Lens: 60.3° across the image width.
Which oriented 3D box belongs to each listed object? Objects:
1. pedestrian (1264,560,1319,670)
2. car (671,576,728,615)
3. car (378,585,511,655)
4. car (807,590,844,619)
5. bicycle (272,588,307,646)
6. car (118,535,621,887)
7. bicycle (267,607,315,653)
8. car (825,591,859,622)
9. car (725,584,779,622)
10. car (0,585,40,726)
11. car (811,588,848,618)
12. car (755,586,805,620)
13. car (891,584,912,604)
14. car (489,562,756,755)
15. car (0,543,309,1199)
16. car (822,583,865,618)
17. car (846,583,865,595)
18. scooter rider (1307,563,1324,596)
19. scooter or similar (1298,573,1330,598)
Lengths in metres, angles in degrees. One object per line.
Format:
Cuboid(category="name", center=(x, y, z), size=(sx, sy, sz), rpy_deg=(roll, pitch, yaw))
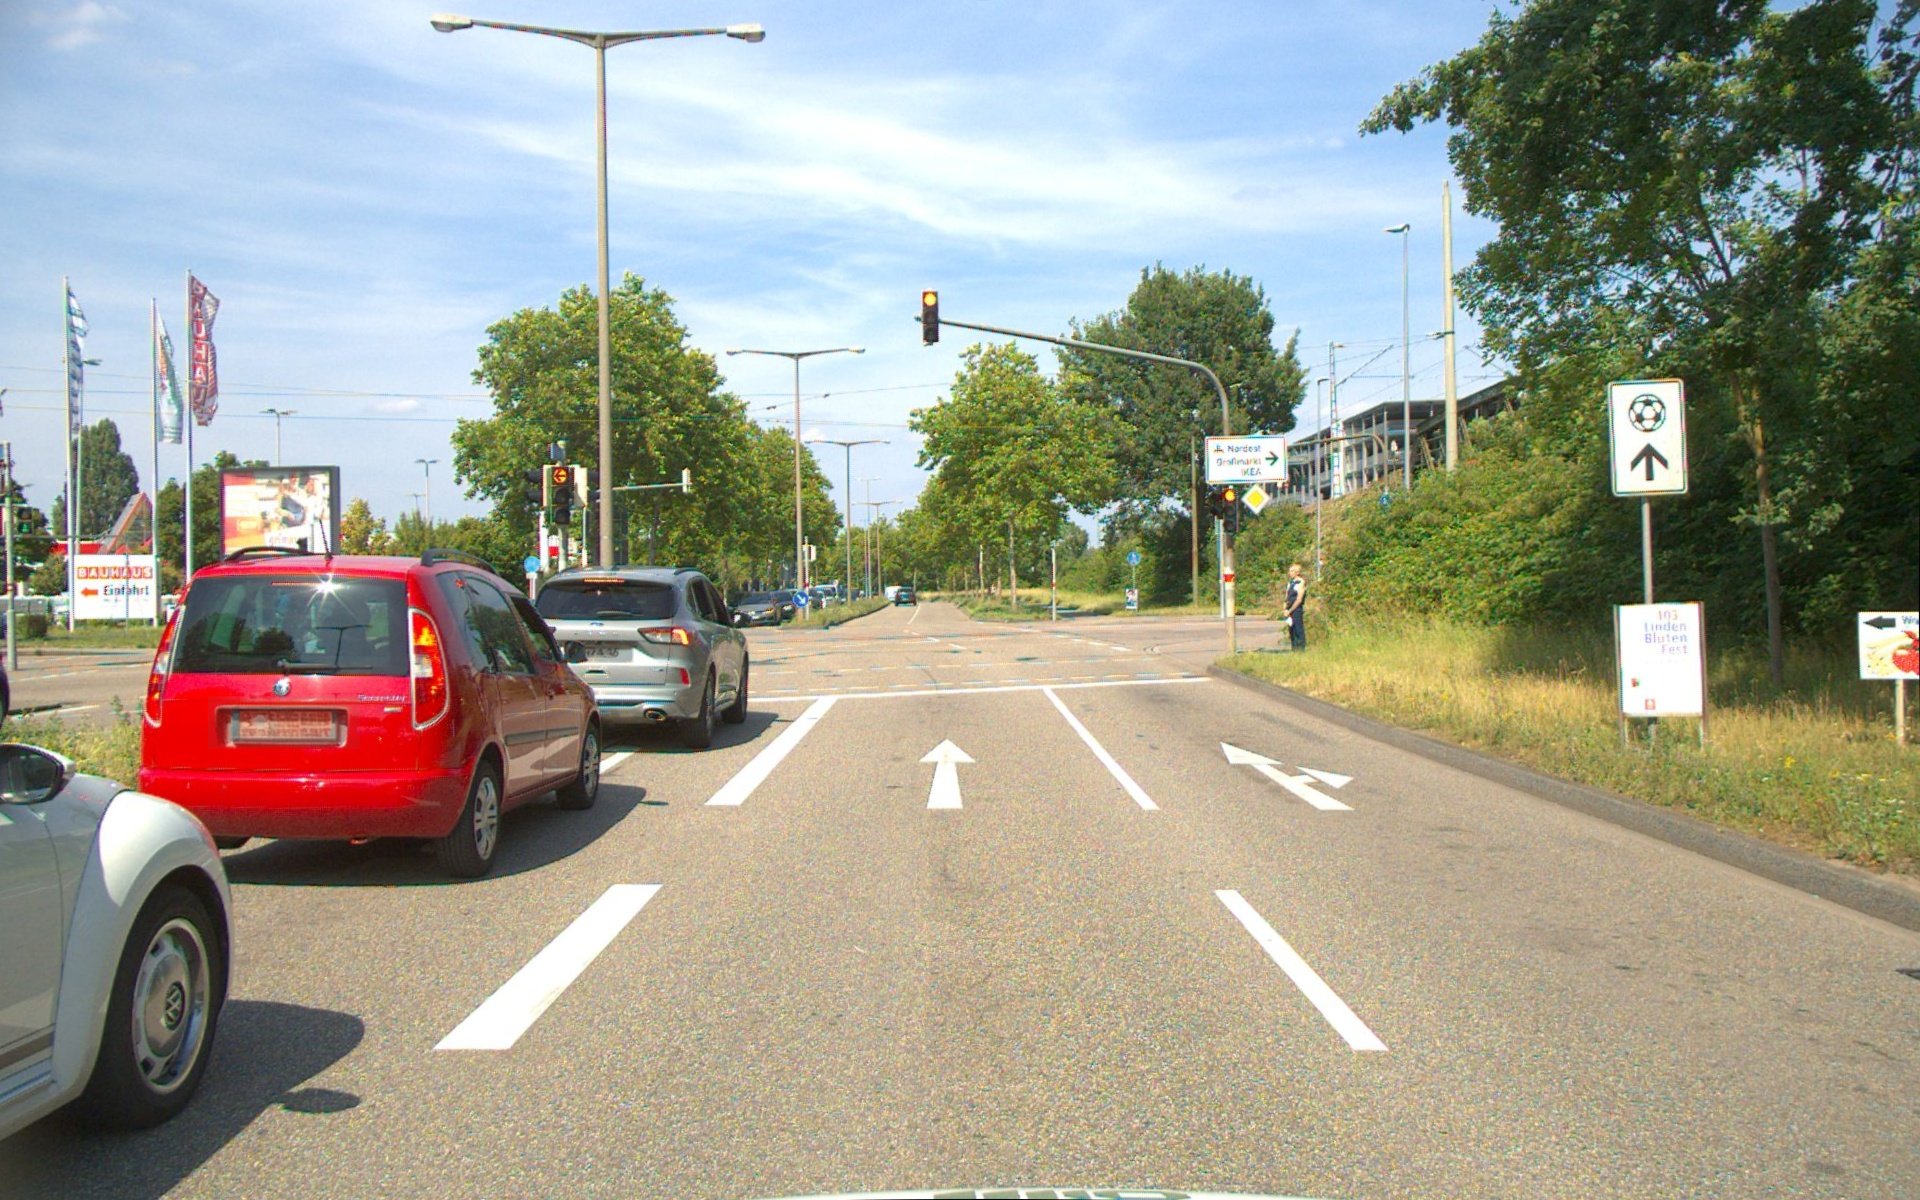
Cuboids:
Cuboid(category="pedestrian", center=(6.071, 0.264, 30.359), size=(0.821, 1.966, 0.771), rpy_deg=(-1, 2, -4))
Cuboid(category="car", center=(-11.551, -0.234, 73.600), size=(1.953, 1.539, 4.000), rpy_deg=(0, 3, -1))
Cuboid(category="car", center=(-11.237, 0.396, 36.292), size=(1.705, 1.414, 3.999), rpy_deg=(-1, 1, -1))
Cuboid(category="car", center=(-7.699, 0.242, 94.957), size=(1.864, 1.624, 3.999), rpy_deg=(-1, 1, -1))
Cuboid(category="bicycle", center=(-19.657, 0.492, 48.508), size=(0.659, 1.643, 0.991), rpy_deg=(-2, 0, -6))
Cuboid(category="car", center=(-3.171, 0.537, 9.726), size=(1.595, 1.623, 3.917), rpy_deg=(-1, -1, -1))
Cuboid(category="bicycle", center=(-19.647, 0.869, 48.627), size=(0.659, 1.278, 2.244), rpy_deg=(-2, 0, -6))
Cuboid(category="car", center=(-7.633, 0.390, 107.189), size=(1.953, 1.928, 4.375), rpy_deg=(-1, 1, -1))
Cuboid(category="car", center=(-8.918, 0.098, 71.143), size=(1.880, 1.539, 3.999), rpy_deg=(-1, 1, -1))
Cuboid(category="car", center=(-11.092, 0.638, 16.312), size=(1.739, 1.496, 4.000), rpy_deg=(-2, 1, 0))
Cuboid(category="car", center=(-7.977, 0.169, 101.499), size=(1.953, 1.707, 3.999), rpy_deg=(-1, 1, -1))
Cuboid(category="car", center=(-8.531, 0.135, 78.627), size=(1.953, 1.527, 3.999), rpy_deg=(-1, 1, -1))
Cuboid(category="car", center=(-5.050, -0.563, 144.025), size=(1.701, 1.562, 4.001), rpy_deg=(0, 3, 0))
Cuboid(category="car", center=(-3.171, 0.491, 16.387), size=(1.843, 1.646, 4.212), rpy_deg=(0, 0, -1))
Cuboid(category="car", center=(-2.941, 0.624, 3.262), size=(1.730, 1.505, 4.135), rpy_deg=(0, 0, -1))
Cuboid(category="car", center=(-5.938, 0.021, 84.656), size=(1.953, 1.725, 3.999), rpy_deg=(-1, 1, -1))
Cuboid(category="car", center=(-15.514, -1.595, 245.443), size=(1.836, 1.724, 4.389), rpy_deg=(-1, 1, -16))
Cuboid(category="scooter rider", center=(15.850, -0.916, 73.786), size=(0.661, 1.453, 0.493), rpy_deg=(-1, 0, 4))
Cuboid(category="scooter or similar", center=(15.792, -0.646, 73.793), size=(1.315, 1.117, 0.493), rpy_deg=(-1, 0, 4))
